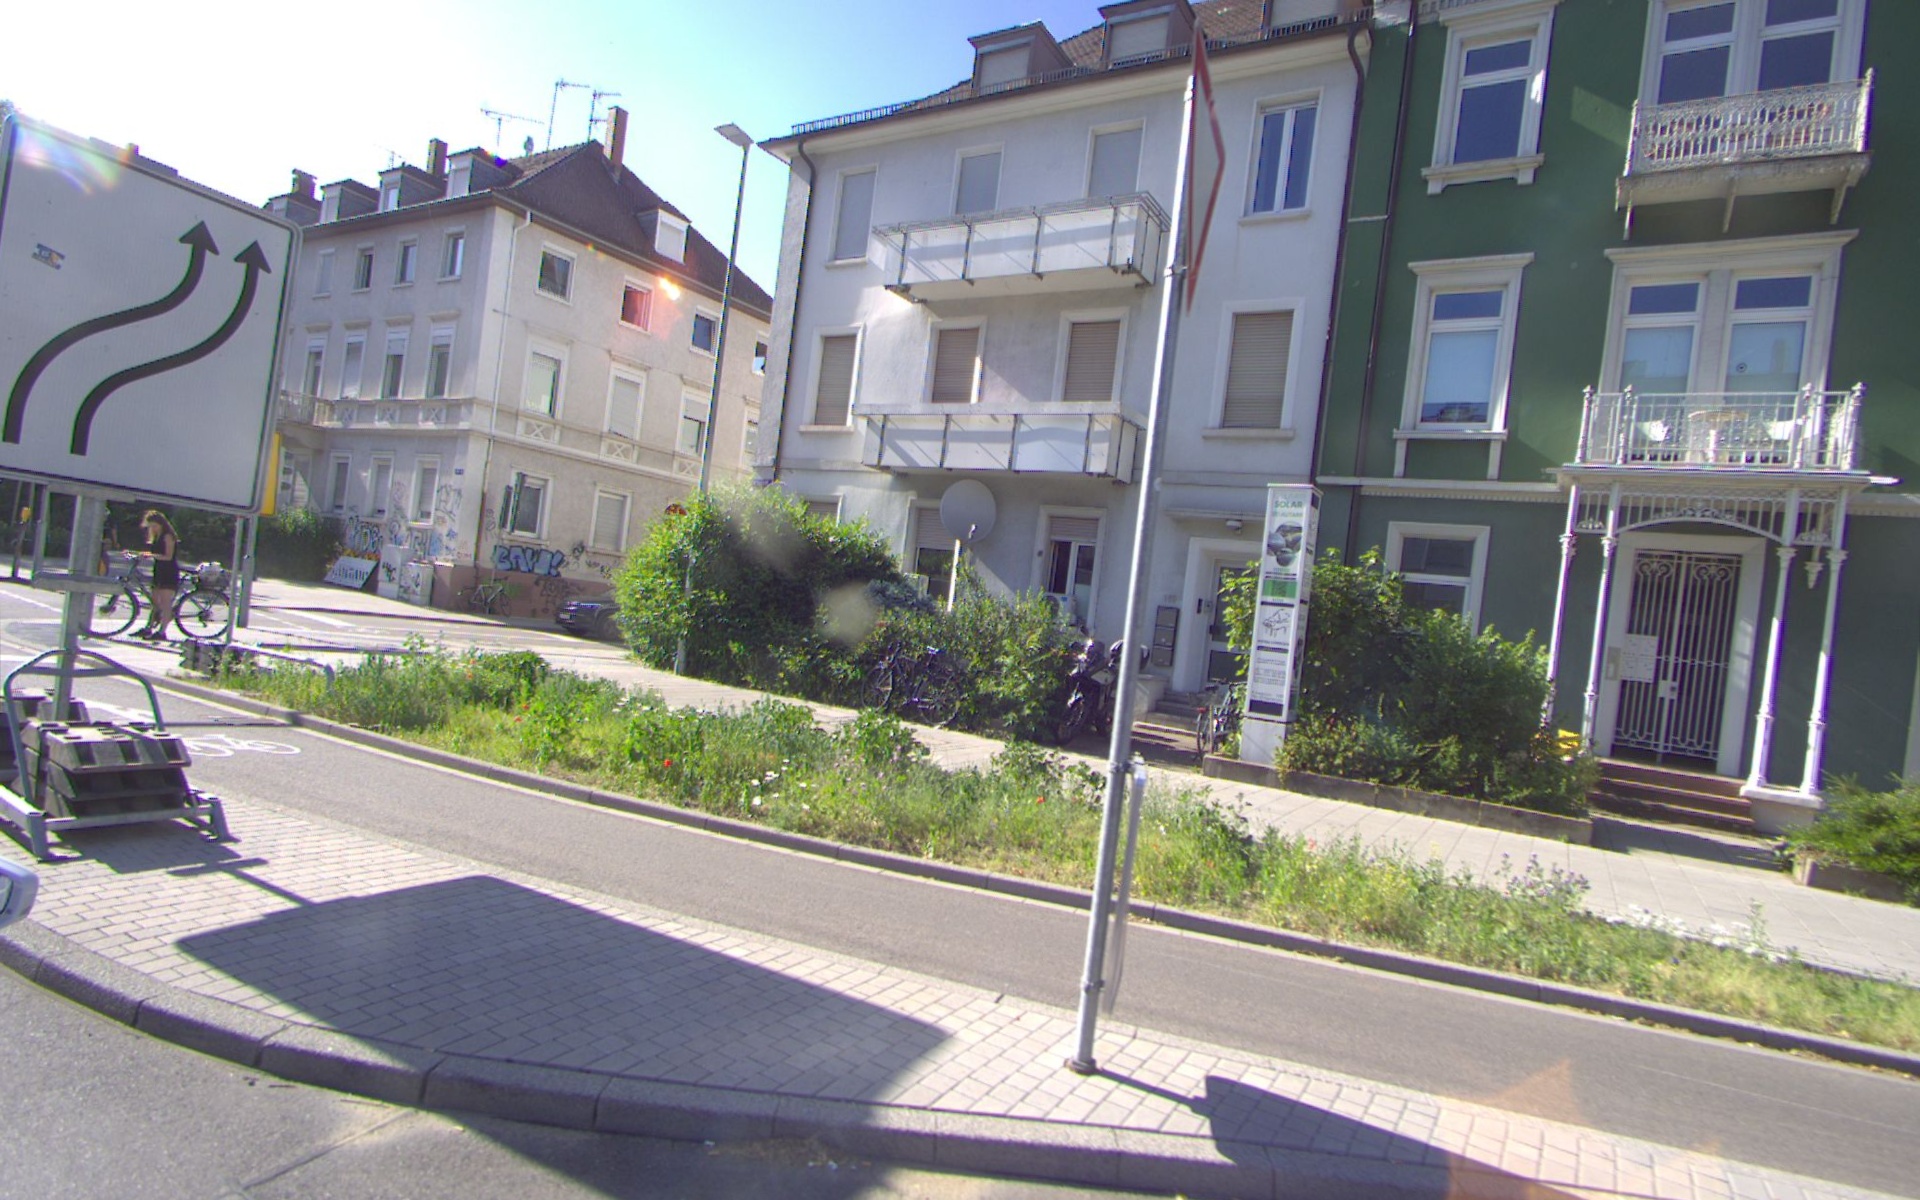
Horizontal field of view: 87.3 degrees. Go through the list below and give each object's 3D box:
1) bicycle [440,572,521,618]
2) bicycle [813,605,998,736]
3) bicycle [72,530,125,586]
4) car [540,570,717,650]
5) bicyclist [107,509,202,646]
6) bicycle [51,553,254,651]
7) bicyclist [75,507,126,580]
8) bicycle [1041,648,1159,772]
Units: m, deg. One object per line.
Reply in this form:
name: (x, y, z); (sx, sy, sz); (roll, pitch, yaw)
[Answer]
bicycle: (-13.838, -0.129, 29.105); (0.570, 1.093, 1.999); (7, -2, 34)
bicycle: (-0.797, 0.967, 14.146); (2.449, 1.460, 0.709); (8, -1, 31)
bicycle: (-19.584, -0.962, 22.850); (1.665, 1.111, 0.687); (7, -1, 45)
car: (-9.204, 0.320, 28.236); (1.955, 1.637, 4.252); (6, -2, 37)
bicyclist: (-10.878, -0.303, 13.587); (0.844, 1.729, 0.604); (7, 0, 32)
bicycle: (-10.851, 0.060, 13.605); (0.595, 1.036, 1.967); (8, -2, 32)
bicyclist: (-19.399, -1.283, 22.703); (0.721, 1.517, 0.861); (7, 0, -42)
bicycle: (1.982, 1.498, 13.906); (0.627, 1.502, 2.259); (7, -1, 30)
